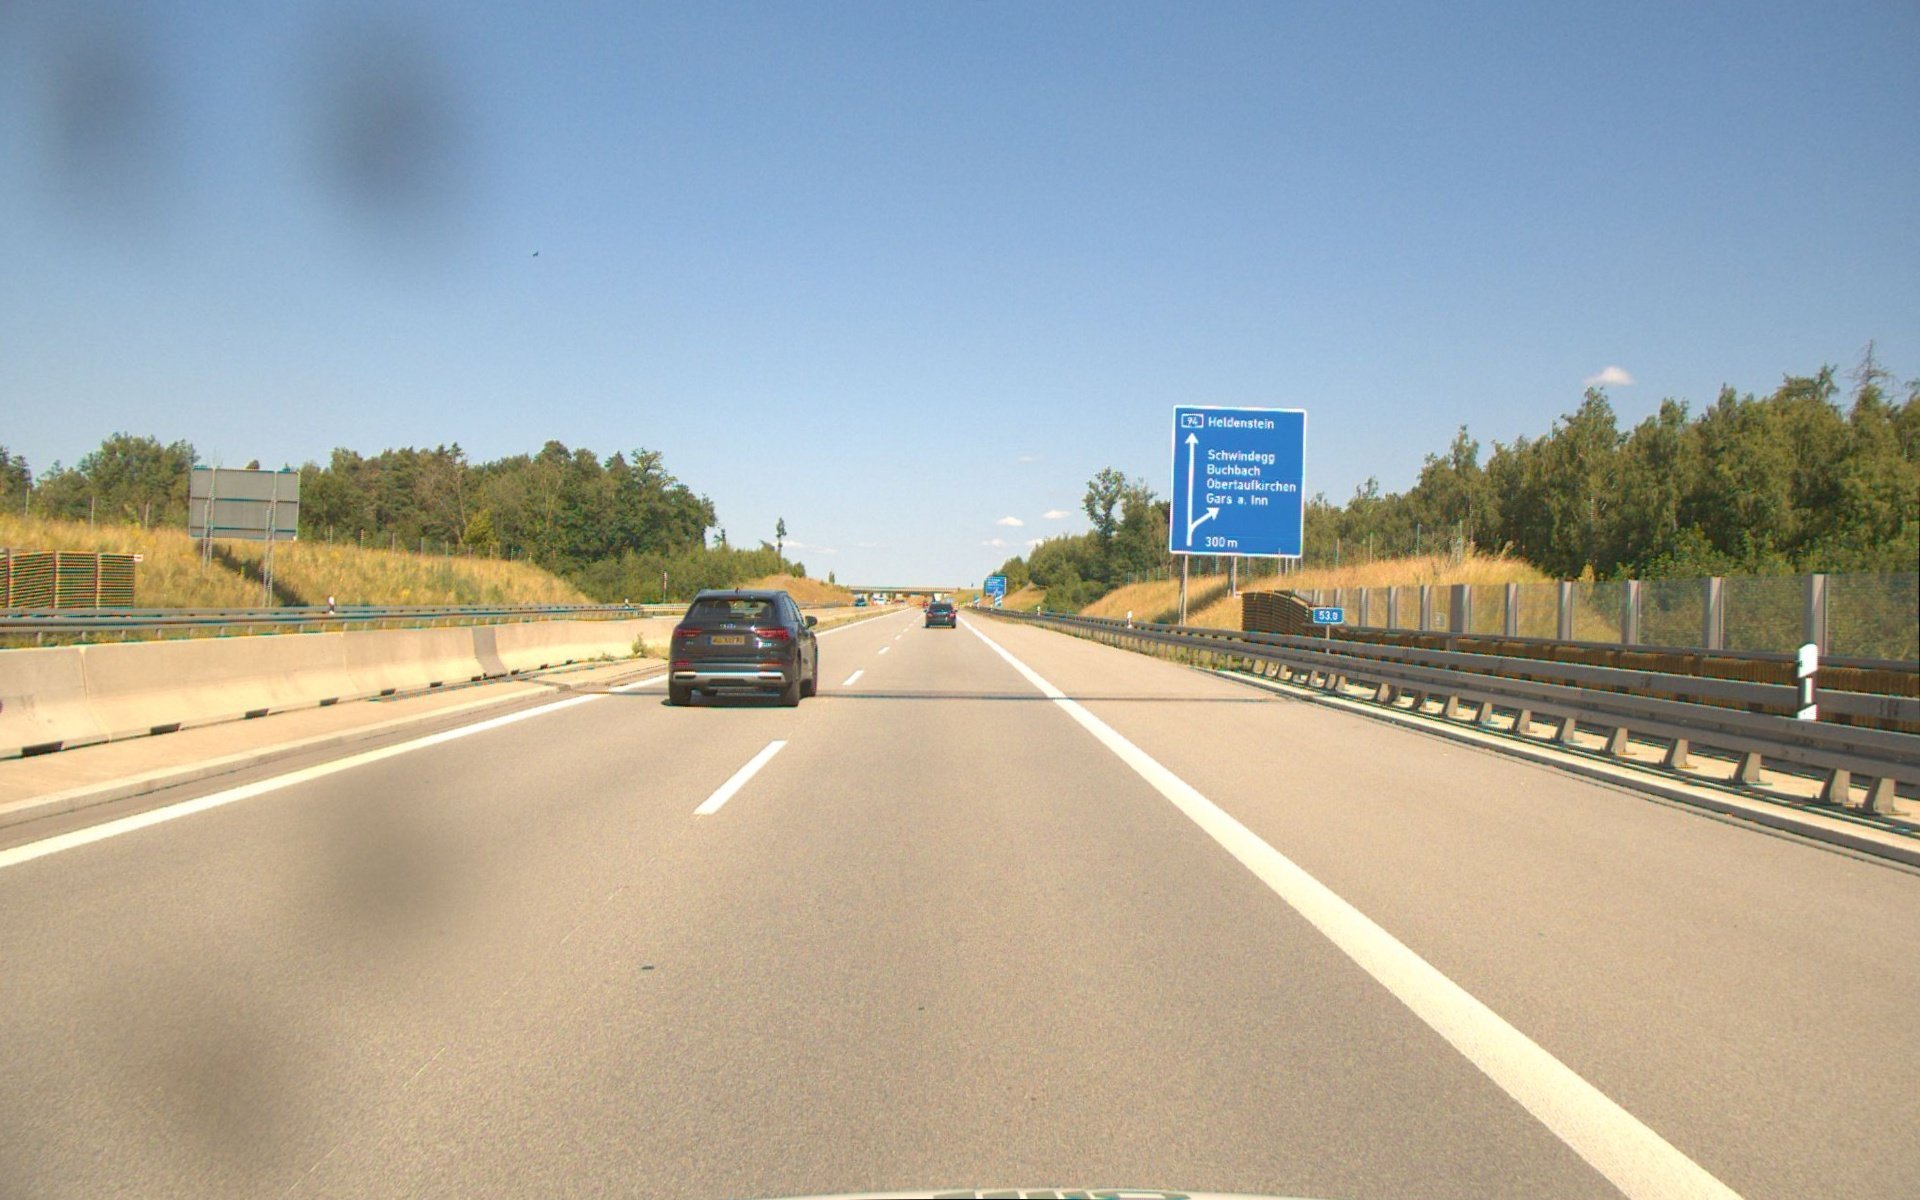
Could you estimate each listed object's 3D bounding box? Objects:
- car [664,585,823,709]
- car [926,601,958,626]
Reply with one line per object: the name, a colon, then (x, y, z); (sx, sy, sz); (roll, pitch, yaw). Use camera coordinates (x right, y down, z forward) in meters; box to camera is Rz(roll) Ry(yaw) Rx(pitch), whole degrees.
car: (-3.091, 0.623, 24.561); (1.687, 1.615, 5.221); (1, 0, 0)
car: (-1.039, 0.754, 94.232); (1.753, 1.398, 3.916); (1, 0, -1)
